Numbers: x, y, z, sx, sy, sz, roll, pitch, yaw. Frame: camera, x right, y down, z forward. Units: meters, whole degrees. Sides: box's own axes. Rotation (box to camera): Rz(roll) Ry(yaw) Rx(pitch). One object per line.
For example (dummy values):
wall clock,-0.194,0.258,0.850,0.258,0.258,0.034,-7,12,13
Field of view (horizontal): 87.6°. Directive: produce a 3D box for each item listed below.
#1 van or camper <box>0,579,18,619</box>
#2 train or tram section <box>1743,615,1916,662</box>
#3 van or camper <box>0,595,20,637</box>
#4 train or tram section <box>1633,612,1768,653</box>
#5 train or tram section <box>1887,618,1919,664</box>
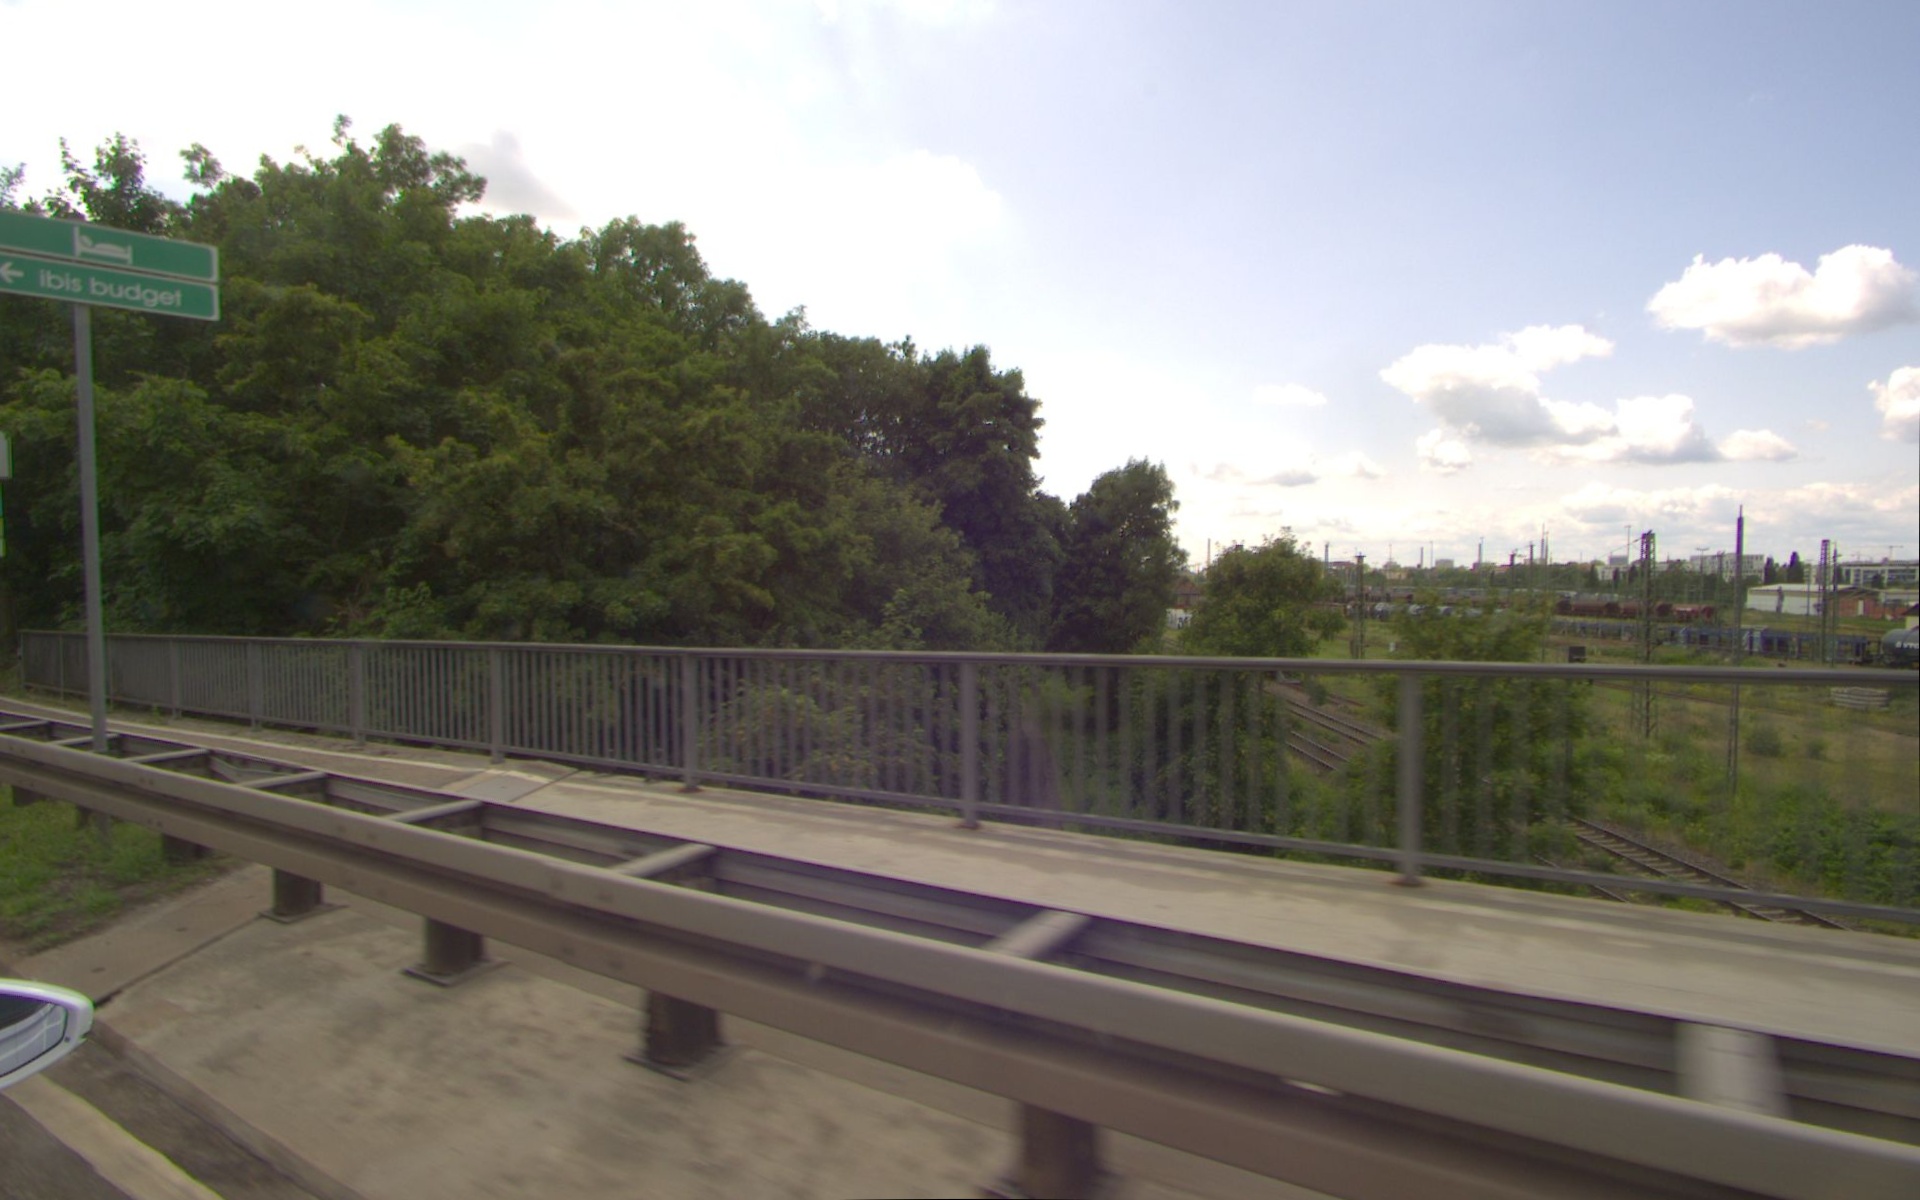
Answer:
van or camper,-89.975,-0.111,92.100,2.872,3.662,7.974,2,-1,-29
train or tram section,92.627,3.944,107.485,3.151,4.208,15.955,-3,1,-7
van or camper,-61.060,0.968,63.148,1.975,2.624,4.061,2,-1,-35
train or tram section,90.713,3.842,123.377,3.151,4.208,15.955,-3,1,-7
train or tram section,94.466,4.043,91.599,3.151,4.208,15.957,-3,1,-6
